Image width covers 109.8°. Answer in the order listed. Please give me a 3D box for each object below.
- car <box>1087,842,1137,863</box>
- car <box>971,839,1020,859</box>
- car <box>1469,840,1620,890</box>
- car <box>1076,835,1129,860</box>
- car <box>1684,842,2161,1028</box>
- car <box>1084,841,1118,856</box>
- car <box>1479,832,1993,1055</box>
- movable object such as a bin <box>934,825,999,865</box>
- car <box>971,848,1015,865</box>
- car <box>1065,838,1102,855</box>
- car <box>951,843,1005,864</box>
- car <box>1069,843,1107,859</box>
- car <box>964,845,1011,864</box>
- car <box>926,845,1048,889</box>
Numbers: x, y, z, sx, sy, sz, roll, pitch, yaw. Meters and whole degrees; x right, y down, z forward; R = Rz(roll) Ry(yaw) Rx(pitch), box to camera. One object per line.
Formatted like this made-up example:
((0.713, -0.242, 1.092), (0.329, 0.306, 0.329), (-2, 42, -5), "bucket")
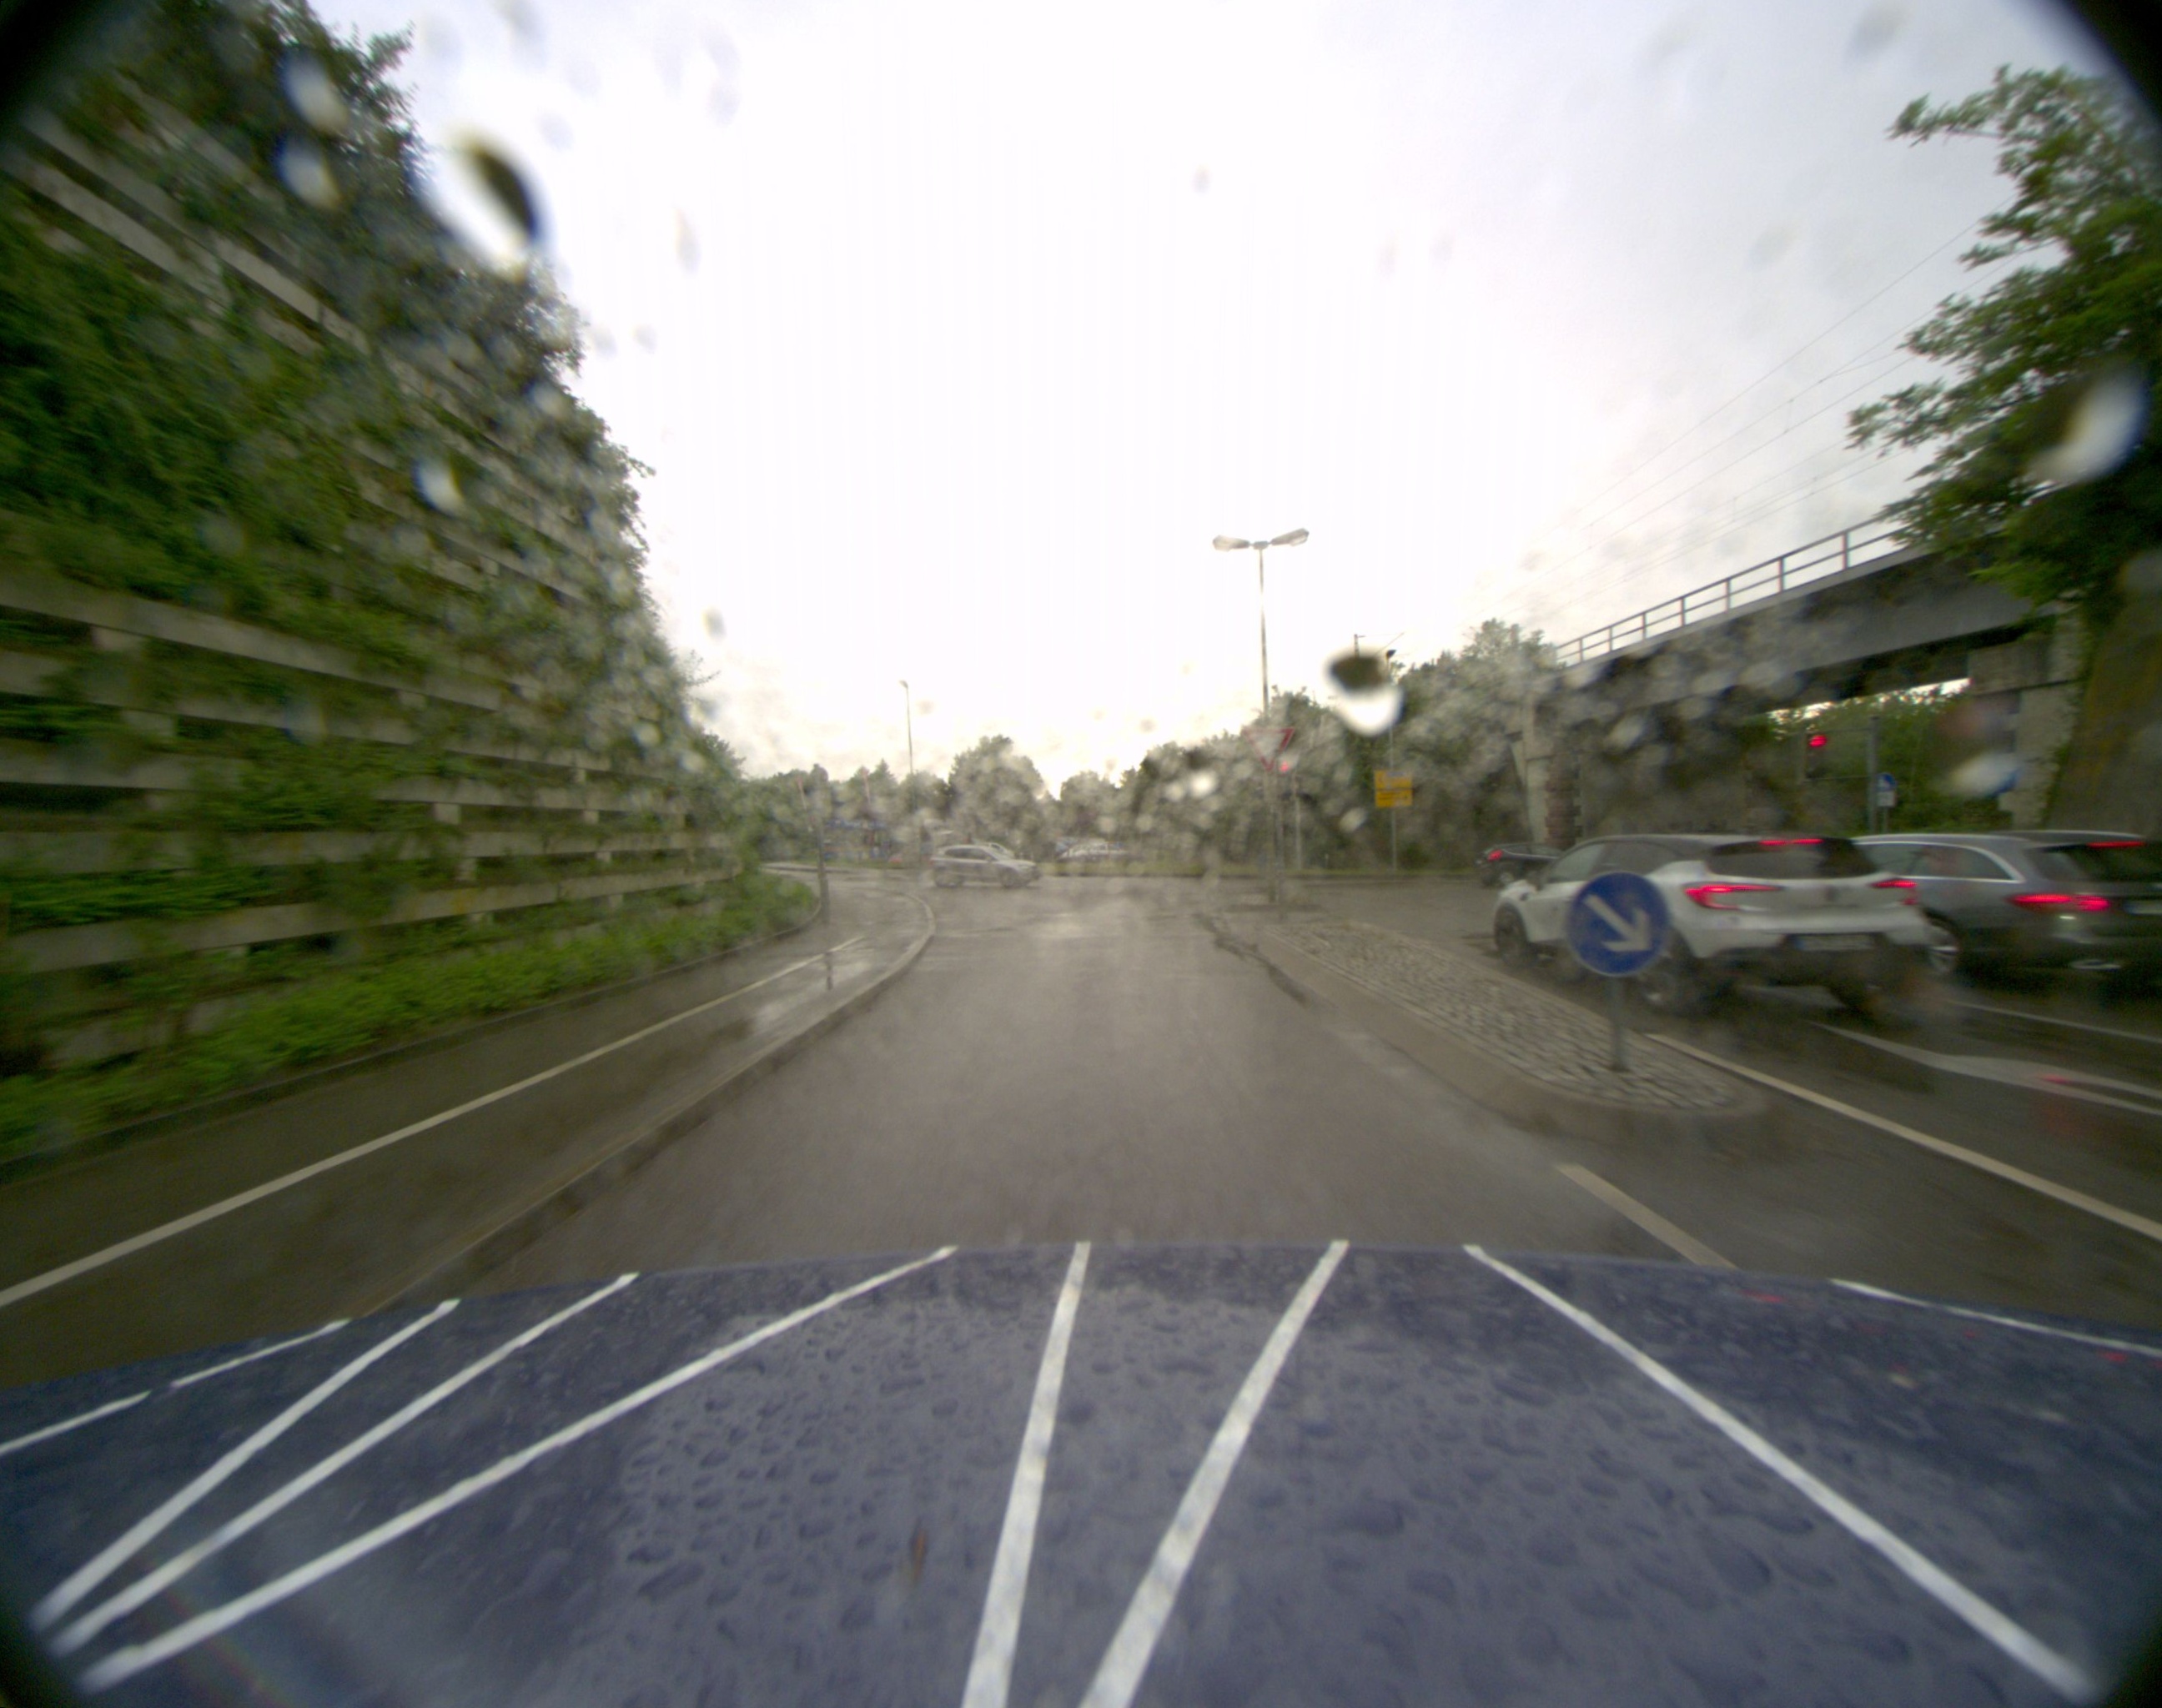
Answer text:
((2.393, -0.123, 59.768), (3.821, 1.559, 1.774), (1, 1, 0), "car")
((-8.075, -0.480, 71.851), (4.386, 1.755, 1.922), (1, 1, 1), "car")
((15.135, 0.352, 24.995), (3.882, 1.561, 1.684), (-1, 1, 11), "car")
((1.744, -0.531, 62.186), (4.232, 1.969, 1.904), (1, 1, 0), "car")
((9.287, 0.637, 8.446), (1.997, 1.494, 4.732), (1, 1, 10), "car")
((2.072, -0.584, 78.833), (3.478, 1.531, 1.447), (1, 1, -1), "car")
((5.838, 0.664, 7.578), (1.873, 1.592, 4.001), (-2, 0, 5), "car")
((-8.191, -0.556, 53.924), (2.315, 2.670, 5.688), (0, 0, -35), "movable object such as a bin")
((-7.739, 0.207, 66.947), (3.624, 1.502, 1.592), (1, 1, 1), "car")
((0.255, -0.830, 84.109), (3.961, 1.869, 1.693), (1, 1, -3), "car")
((-8.045, -0.033, 59.667), (3.997, 1.565, 1.670), (1, 1, 0), "car")
((0.729, -0.324, 81.640), (3.880, 1.619, 1.693), (1, 1, -3), "car")
((-7.895, 0.046, 64.503), (3.707, 1.565, 1.592), (1, 1, 1), "car")
((-3.445, 0.452, 28.094), (4.146, 1.499, 1.684), (1, 1, 14), "car")
